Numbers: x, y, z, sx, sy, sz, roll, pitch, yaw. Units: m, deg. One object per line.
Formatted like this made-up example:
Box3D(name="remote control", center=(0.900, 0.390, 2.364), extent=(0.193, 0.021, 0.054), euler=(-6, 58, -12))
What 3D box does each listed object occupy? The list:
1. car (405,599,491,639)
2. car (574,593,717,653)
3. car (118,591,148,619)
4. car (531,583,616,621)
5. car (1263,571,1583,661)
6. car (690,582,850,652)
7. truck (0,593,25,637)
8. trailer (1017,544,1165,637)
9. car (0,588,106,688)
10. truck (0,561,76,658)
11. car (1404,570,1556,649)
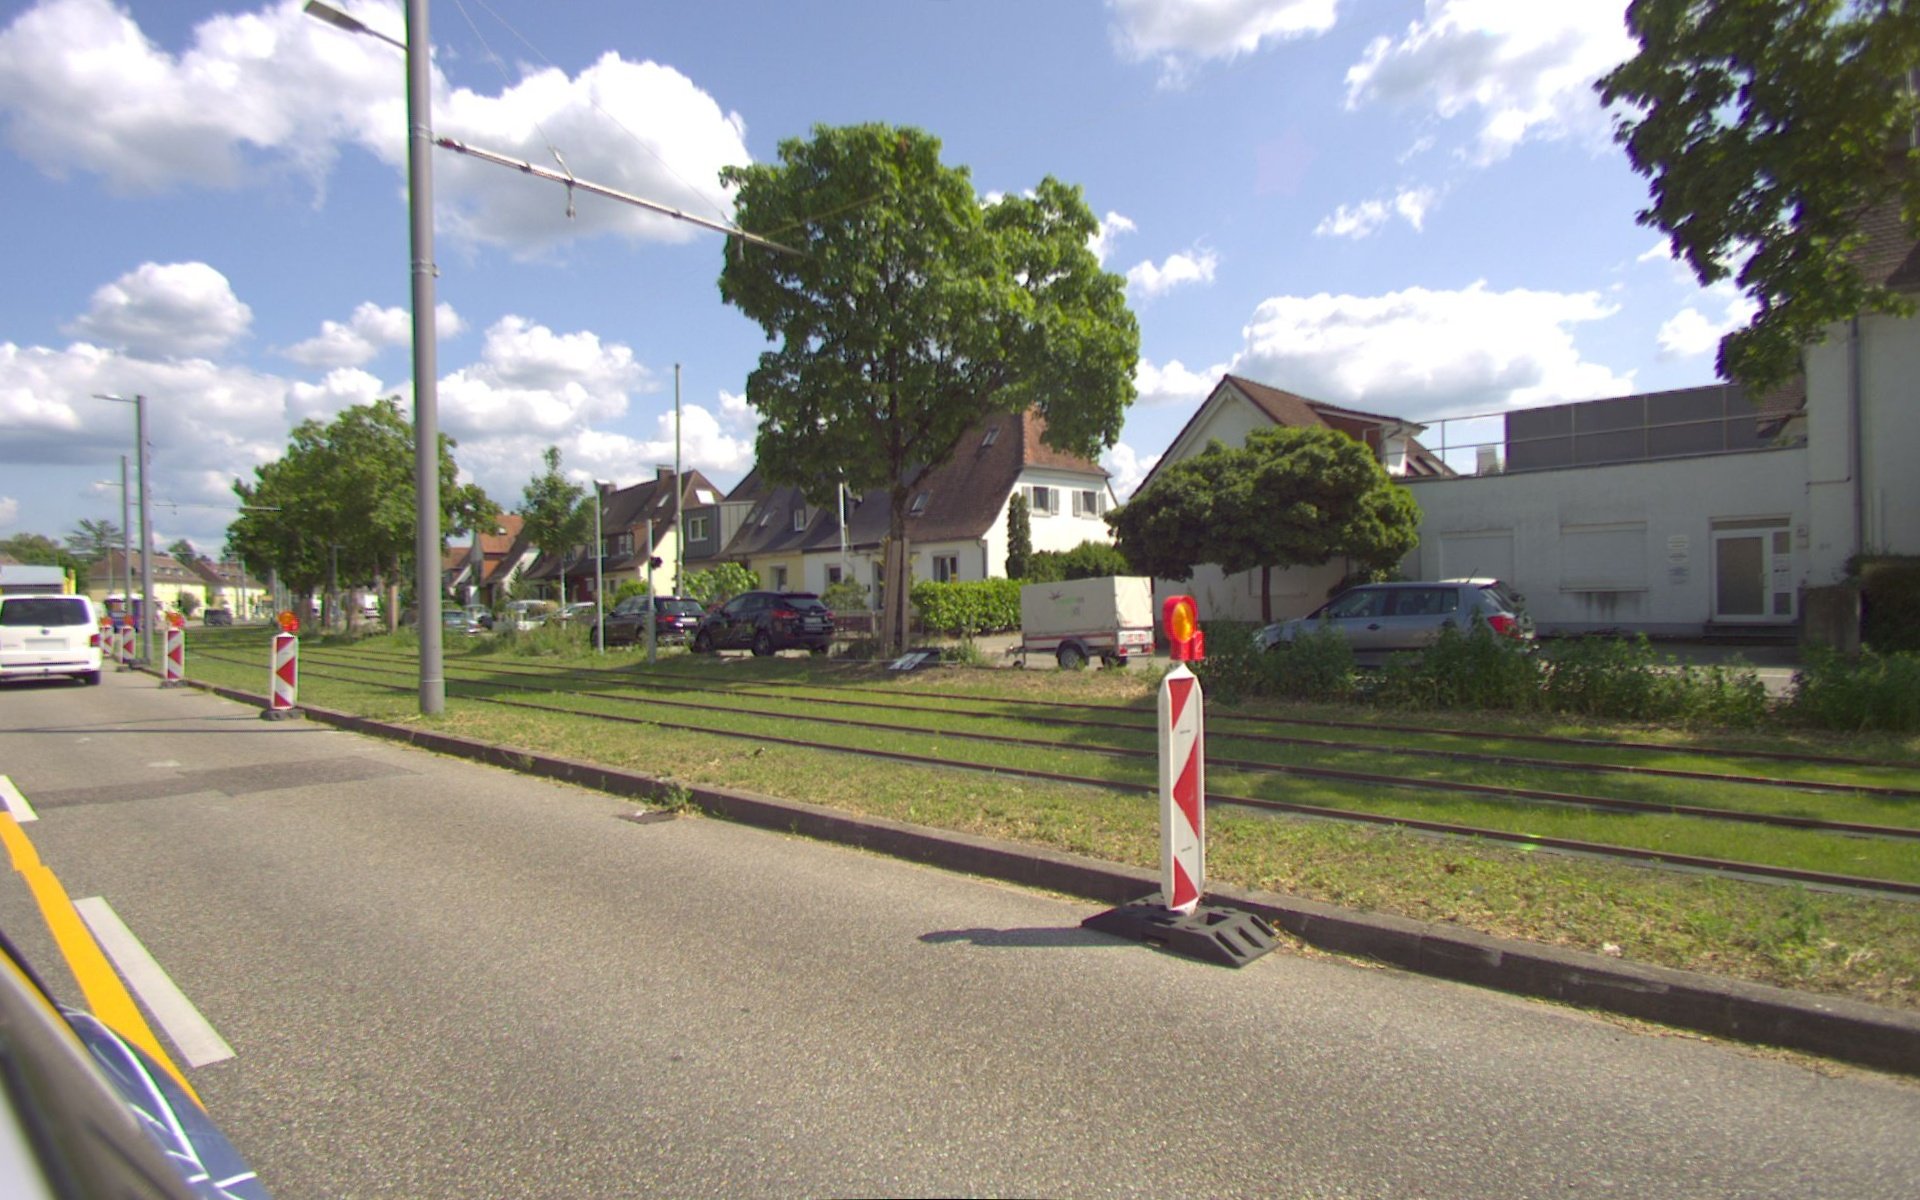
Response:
Box3D(name="car", center=(-21.483, 0.761, 42.395), extent=(1.971, 1.551, 4.325), euler=(-1, 1, -45))
Box3D(name="car", center=(-8.948, 0.598, 28.623), extent=(4.322, 1.551, 1.972), euler=(0, 0, 43))
Box3D(name="car", center=(-75.449, 0.439, 92.387), extent=(1.669, 2.450, 3.584), euler=(0, 0, -32))
Box3D(name="car", center=(-21.318, 0.100, 55.873), extent=(3.939, 2.029, 2.002), euler=(-1, 0, -43))
Box3D(name="car", center=(6.469, 0.188, 14.318), extent=(3.832, 1.101, 1.764), euler=(0, 0, 39))
Box3D(name="car", center=(-4.785, 0.493, 25.247), extent=(4.101, 1.590, 1.884), euler=(-3, -4, 43))
Box3D(name="truck", center=(-68.439, 1.024, 71.363), extent=(2.492, 2.970, 7.881), euler=(-1, 0, -34))
Box3D(name="trailer", center=(2.300, -0.160, 17.944), extent=(2.281, 1.530, 1.285), euler=(-1, 0, 42))
Box3D(name="car", center=(-20.095, 0.778, 22.059), extent=(1.917, 1.957, 4.564), euler=(0, -1, -44))
Box3D(name="truck", center=(-35.887, 0.386, 38.853), extent=(2.664, 3.391, 8.057), euler=(0, -1, -43))
Box3D(name="car", center=(11.542, 0.207, 22.357), extent=(1.999, 1.539, 3.945), euler=(-4, -2, 42))
